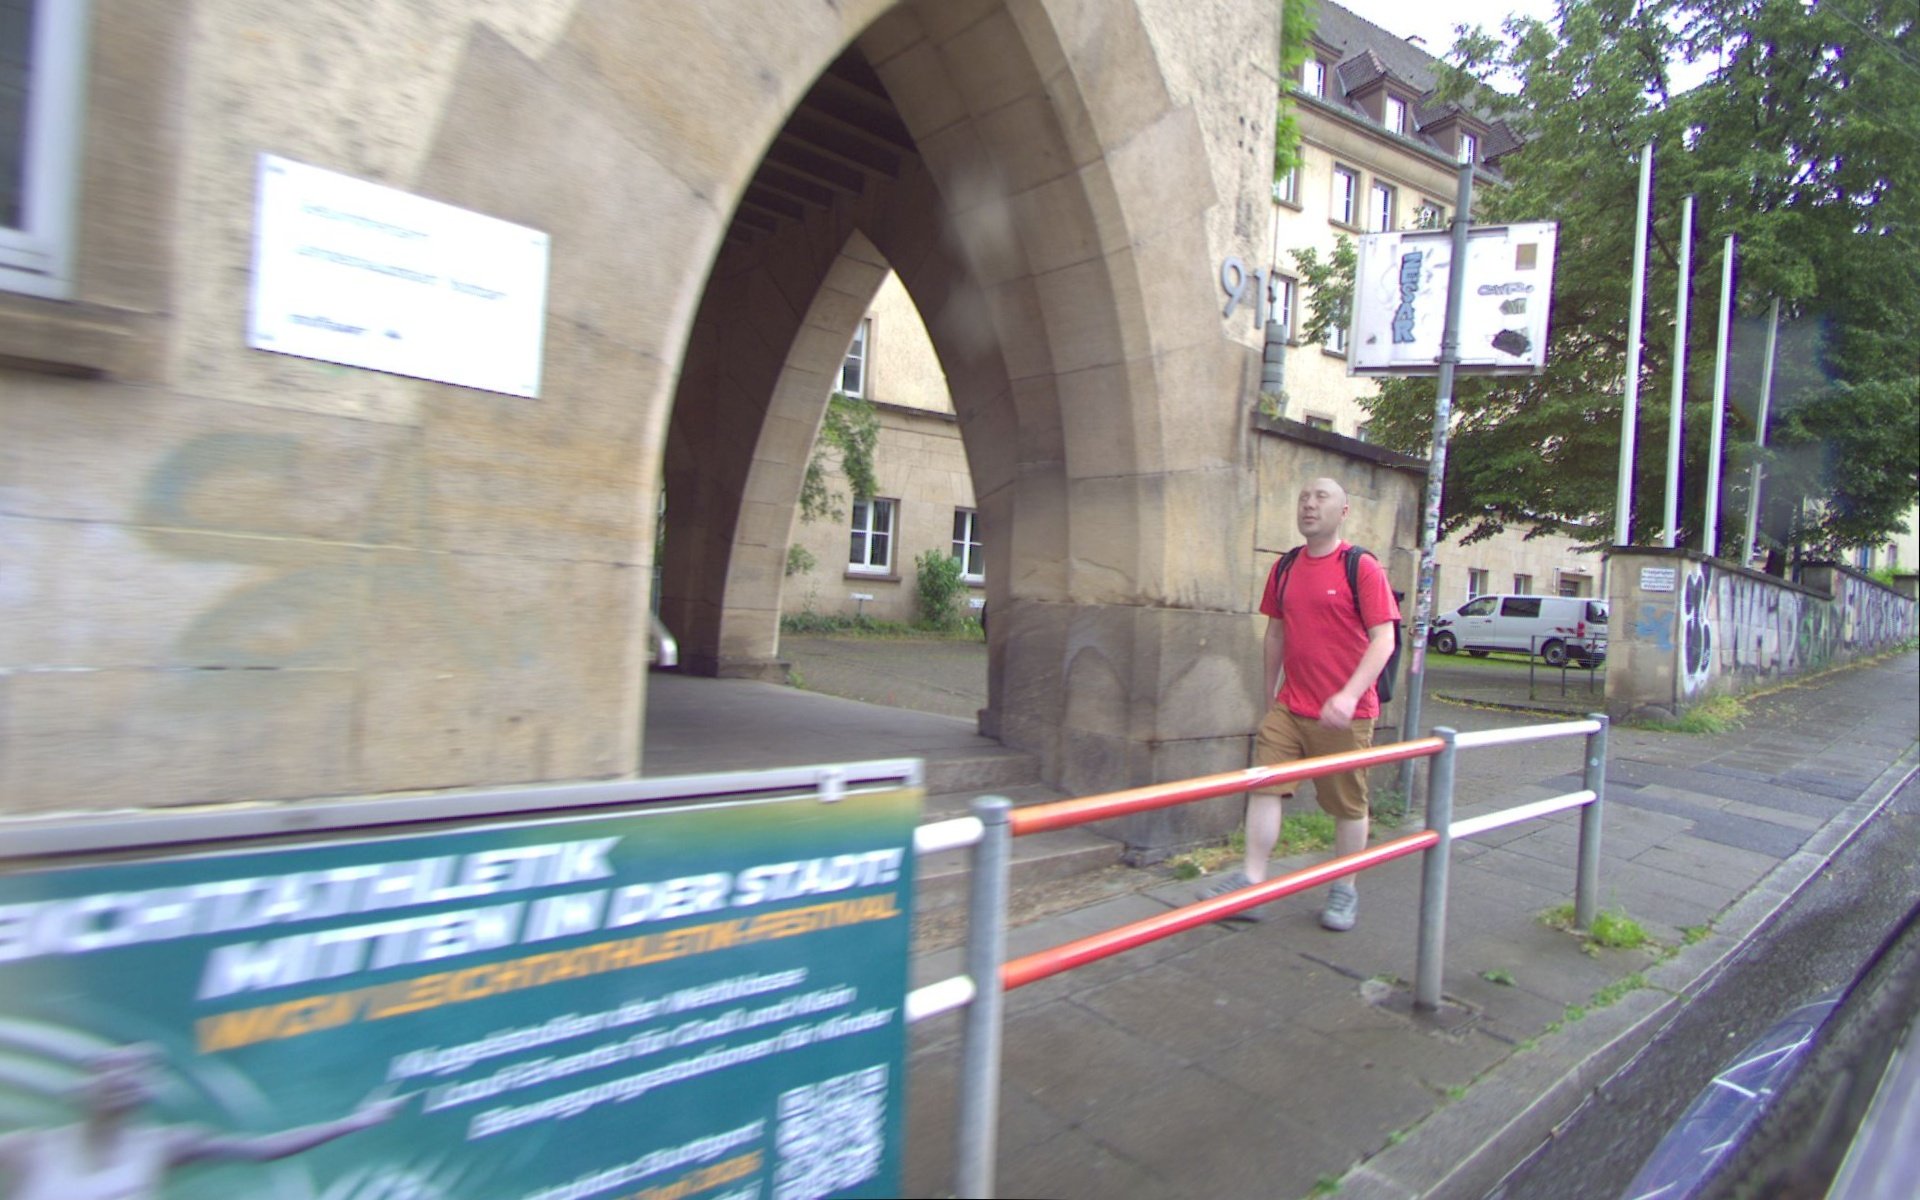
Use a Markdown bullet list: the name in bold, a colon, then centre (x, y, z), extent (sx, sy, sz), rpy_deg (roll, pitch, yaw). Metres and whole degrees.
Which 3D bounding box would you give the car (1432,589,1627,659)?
- **car**: centre (16.026, 0.616, 28.741), extent (1.786, 1.802, 4.538), rpy_deg (-1, 0, -29)

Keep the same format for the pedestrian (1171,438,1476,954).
- **pedestrian**: centre (1.438, 0.311, 4.027), extent (0.804, 1.785, 0.748), rpy_deg (0, 4, -41)

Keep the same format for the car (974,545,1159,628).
- **car**: centre (1.996, -0.250, 20.083), extent (1.581, 1.488, 3.918), rpy_deg (-1, 0, -32)
